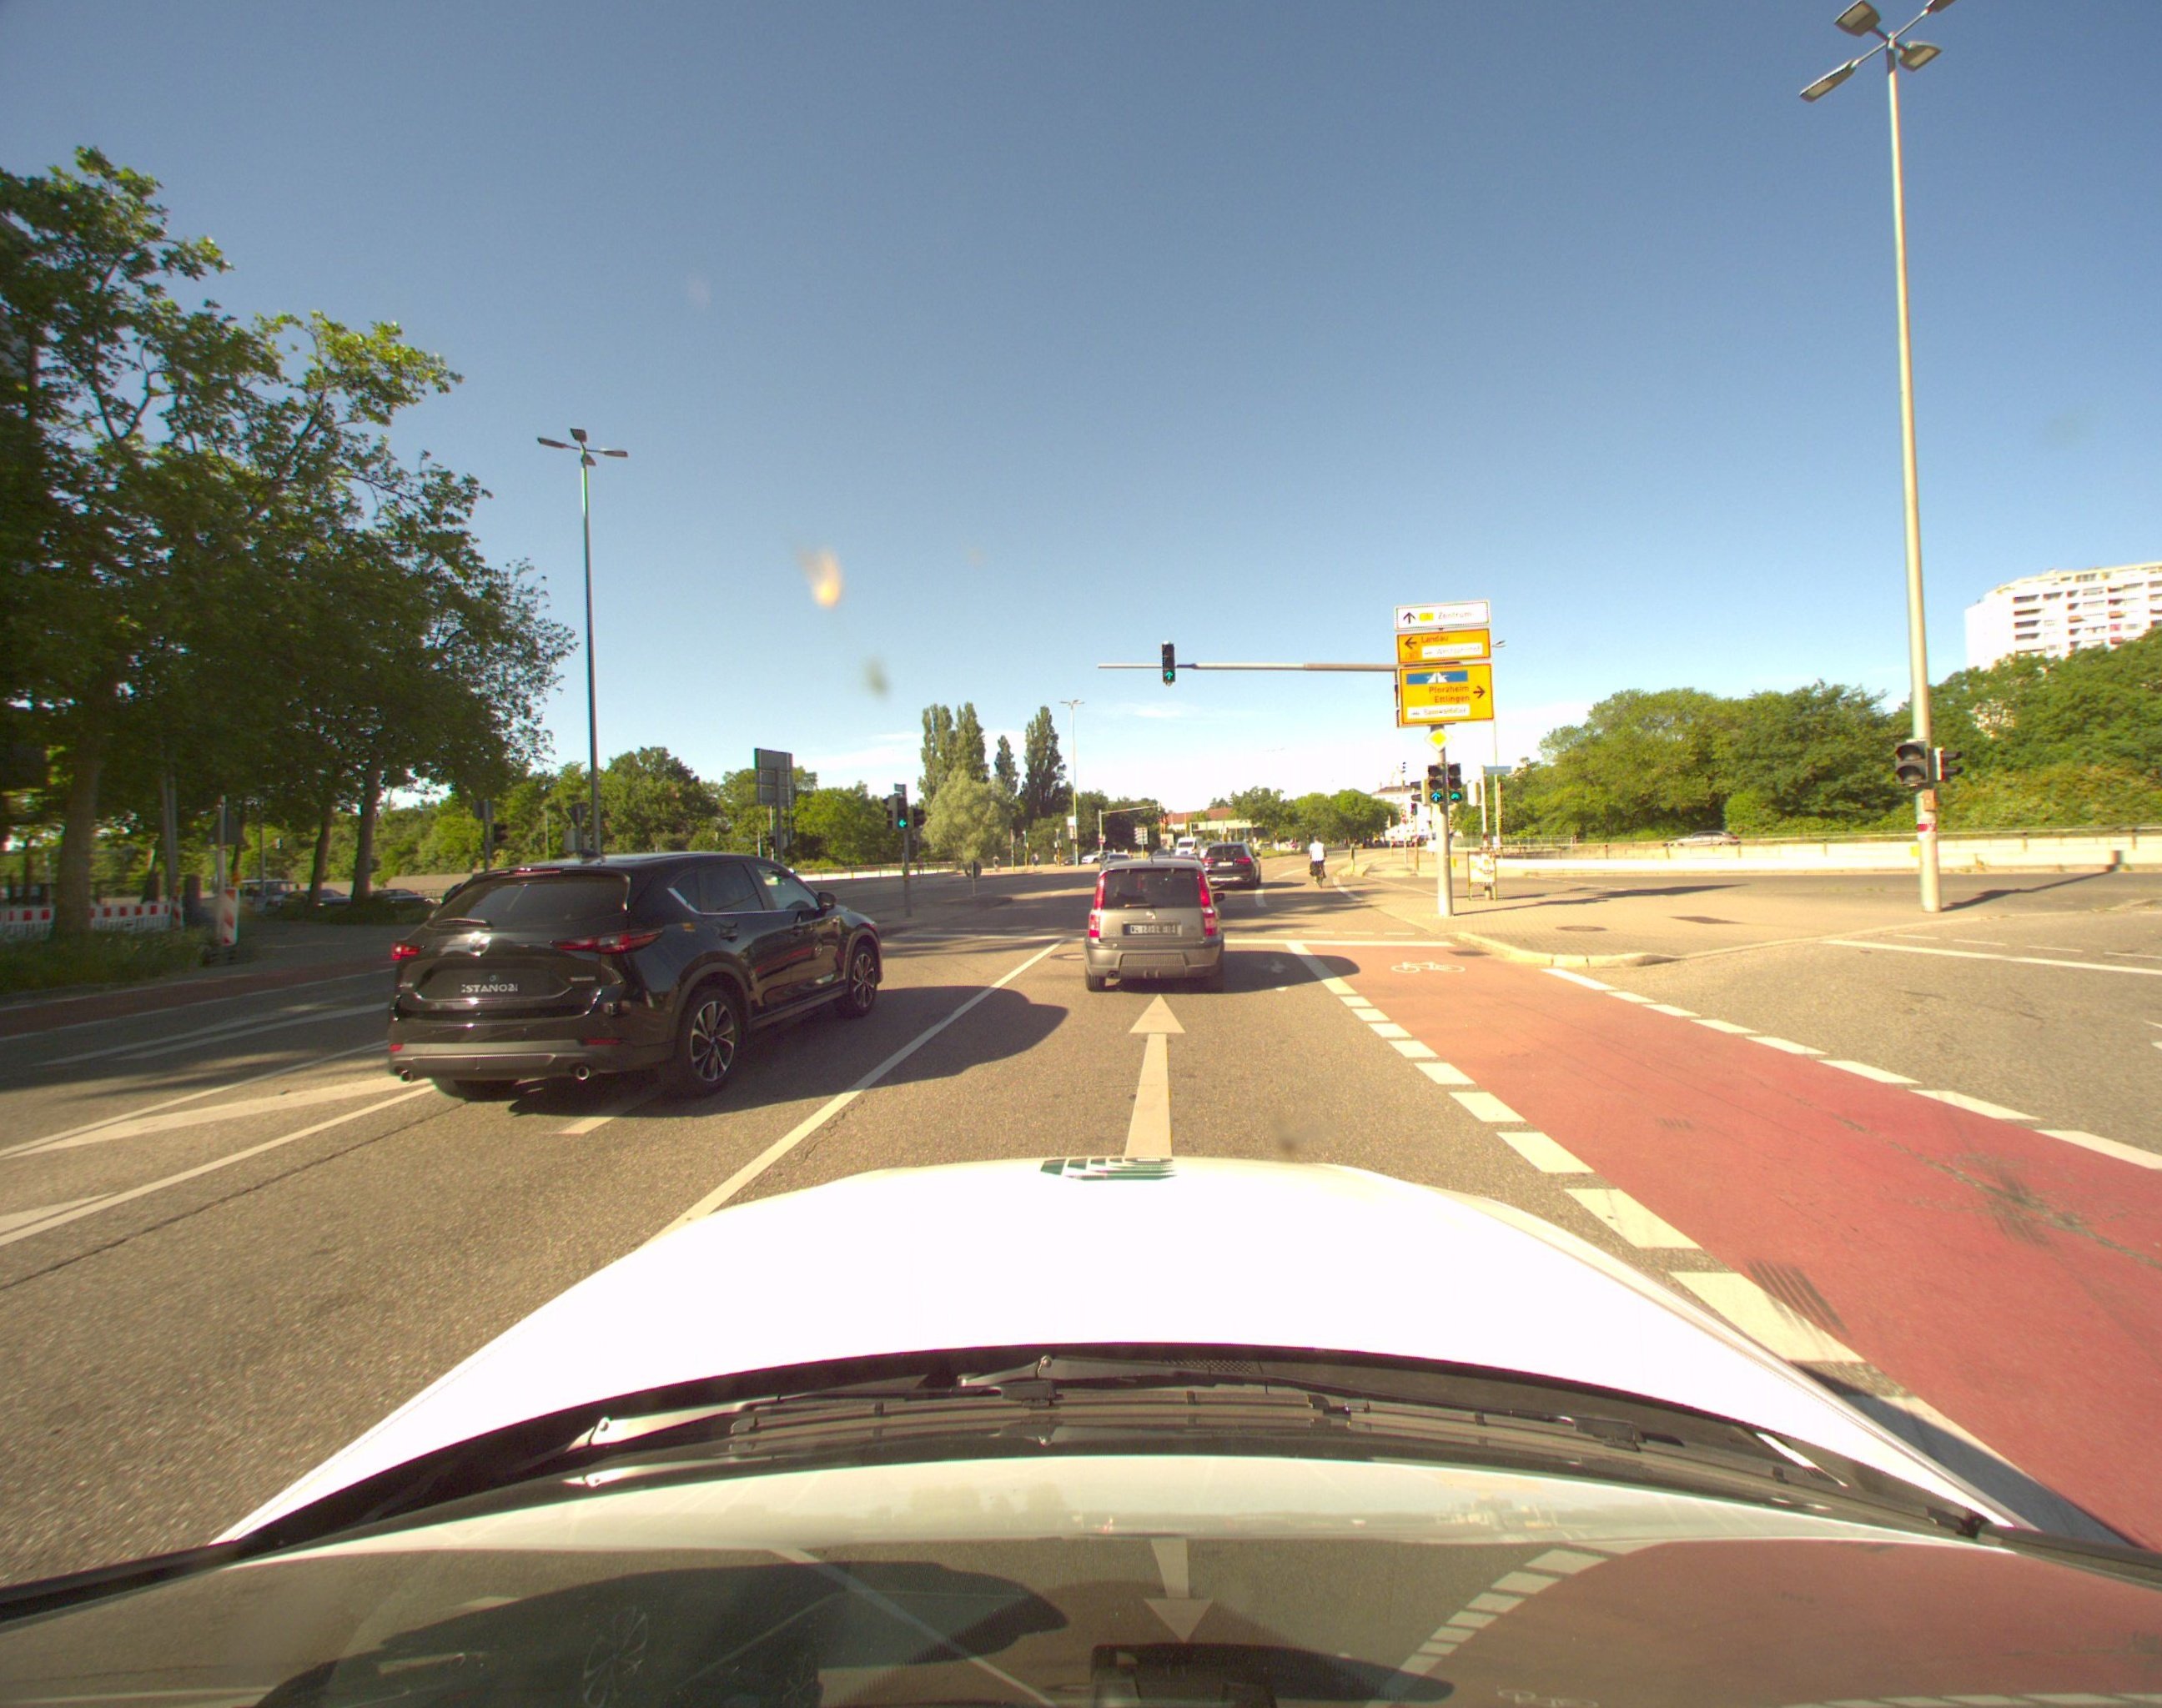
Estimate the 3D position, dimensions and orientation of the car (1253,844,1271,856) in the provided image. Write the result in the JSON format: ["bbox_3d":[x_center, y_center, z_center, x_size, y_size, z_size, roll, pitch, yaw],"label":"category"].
[{"bbox_3d":[26.501,-0.541,119.203,1.920,1.622,4.529,-2,0,20],"label":"car"}]

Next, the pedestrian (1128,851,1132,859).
[{"bbox_3d":[7.189,0.093,118.755,0.419,1.136,0.400,-1,-2,24],"label":"pedestrian"}]

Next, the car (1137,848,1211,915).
[{"bbox_3d":[2.329,0.604,19.756,1.608,1.463,3.760,-1,0,9],"label":"car"}]

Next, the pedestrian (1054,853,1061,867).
[{"bbox_3d":[-2.690,0.659,92.468,0.557,1.547,0.573,-3,-1,-17],"label":"pedestrian"}]

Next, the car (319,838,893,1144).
[{"bbox_3d":[-3.235,0.789,6.742,1.864,1.709,4.205,-2,0,7],"label":"car"}]

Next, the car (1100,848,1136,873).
[{"bbox_3d":[2.297,0.396,51.148,1.777,1.415,4.313,-2,0,-4],"label":"car"}]

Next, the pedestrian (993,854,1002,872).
[{"bbox_3d":[-7.121,0.757,69.300,0.678,1.463,0.701,-2,0,-7],"label":"pedestrian"}]

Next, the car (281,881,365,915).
[{"bbox_3d":[-40.949,2.366,43.992,4.452,1.644,1.892,-2,0,27],"label":"car"}]

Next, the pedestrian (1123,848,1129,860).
[{"bbox_3d":[6.540,-0.009,118.864,0.714,1.641,0.676,-1,-2,24],"label":"pedestrian"}]

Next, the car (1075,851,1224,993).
[{"bbox_3d":[1.030,0.733,10.790,1.608,1.515,3.829,-1,0,9],"label":"car"}]

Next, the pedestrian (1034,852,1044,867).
[{"bbox_3d":[-4.413,0.569,85.307,0.713,1.547,0.722,-2,-1,-29],"label":"pedestrian"}]

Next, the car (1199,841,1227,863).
[{"bbox_3d":[13.303,-0.243,81.764,1.921,2.008,4.956,-2,0,19],"label":"car"}]

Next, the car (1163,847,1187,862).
[{"bbox_3d":[10.772,0.023,93.357,1.796,1.541,4.638,-4,0,18],"label":"car"}]

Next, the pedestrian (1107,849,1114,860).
[{"bbox_3d":[4.250,0.093,117.000,0.664,1.503,0.784,-2,-2,38],"label":"pedestrian"}]

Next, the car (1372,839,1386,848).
[{"bbox_3d":[54.158,-1.892,148.029,1.927,1.528,4.122,-2,0,27],"label":"car"}]

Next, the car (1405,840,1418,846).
[{"bbox_3d":[87.137,-2.835,214.498,1.926,1.528,4.123,-2,0,41],"label":"car"}]

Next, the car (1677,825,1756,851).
[{"bbox_3d":[43.819,-1.100,56.253,4.190,1.552,1.873,-2,0,38],"label":"car"}]

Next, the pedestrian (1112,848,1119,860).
[{"bbox_3d":[4.811,-0.048,114.212,0.781,1.664,0.634,-2,-2,32],"label":"pedestrian"}]

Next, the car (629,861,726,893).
[{"bbox_3d":[-22.000,1.264,44.479,4.414,1.540,1.958,-2,0,12],"label":"car"}]

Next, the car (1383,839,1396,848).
[{"bbox_3d":[62.219,-2.112,164.111,1.927,1.528,4.122,-2,0,28],"label":"car"}]

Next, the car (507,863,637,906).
[{"bbox_3d":[-21.881,1.317,35.035,4.734,1.621,1.959,-2,0,14],"label":"car"}]

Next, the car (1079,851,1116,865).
[{"bbox_3d":[1.981,0.458,96.651,4.353,1.535,1.763,-2,1,-43],"label":"car"}]

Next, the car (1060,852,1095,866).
[{"bbox_3d":[-0.419,0.590,99.405,4.020,1.625,1.879,1,-2,-40],"label":"car"}]

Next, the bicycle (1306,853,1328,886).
[{"bbox_3d":[8.342,0.534,28.787,0.686,1.102,1.834,-1,0,16],"label":"bicycle"}]

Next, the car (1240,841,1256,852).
[{"bbox_3d":[29.988,-1.292,146.418,1.976,1.816,4.021,-1,-2,23],"label":"car"}]

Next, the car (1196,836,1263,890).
[{"bbox_3d":[5.650,0.292,30.582,1.930,1.840,4.171,-2,0,17],"label":"car"}]

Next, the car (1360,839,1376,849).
[{"bbox_3d":[47.541,-1.672,134.716,1.927,1.528,4.122,-2,0,27],"label":"car"}]

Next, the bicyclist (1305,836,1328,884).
[{"bbox_3d":[8.344,0.207,28.847,0.718,1.659,1.118,-1,0,16],"label":"bicyclist"}]

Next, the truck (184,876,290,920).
[{"bbox_3d":[-49.361,2.584,47.592,7.420,2.360,2.177,-2,0,27],"label":"truck"}]

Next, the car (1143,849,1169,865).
[{"bbox_3d":[7.974,0.328,86.636,1.922,1.507,4.018,-4,0,16],"label":"car"}]

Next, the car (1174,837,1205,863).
[{"bbox_3d":[11.458,-0.489,85.636,1.921,2.576,6.118,-2,0,19],"label":"car"}]
